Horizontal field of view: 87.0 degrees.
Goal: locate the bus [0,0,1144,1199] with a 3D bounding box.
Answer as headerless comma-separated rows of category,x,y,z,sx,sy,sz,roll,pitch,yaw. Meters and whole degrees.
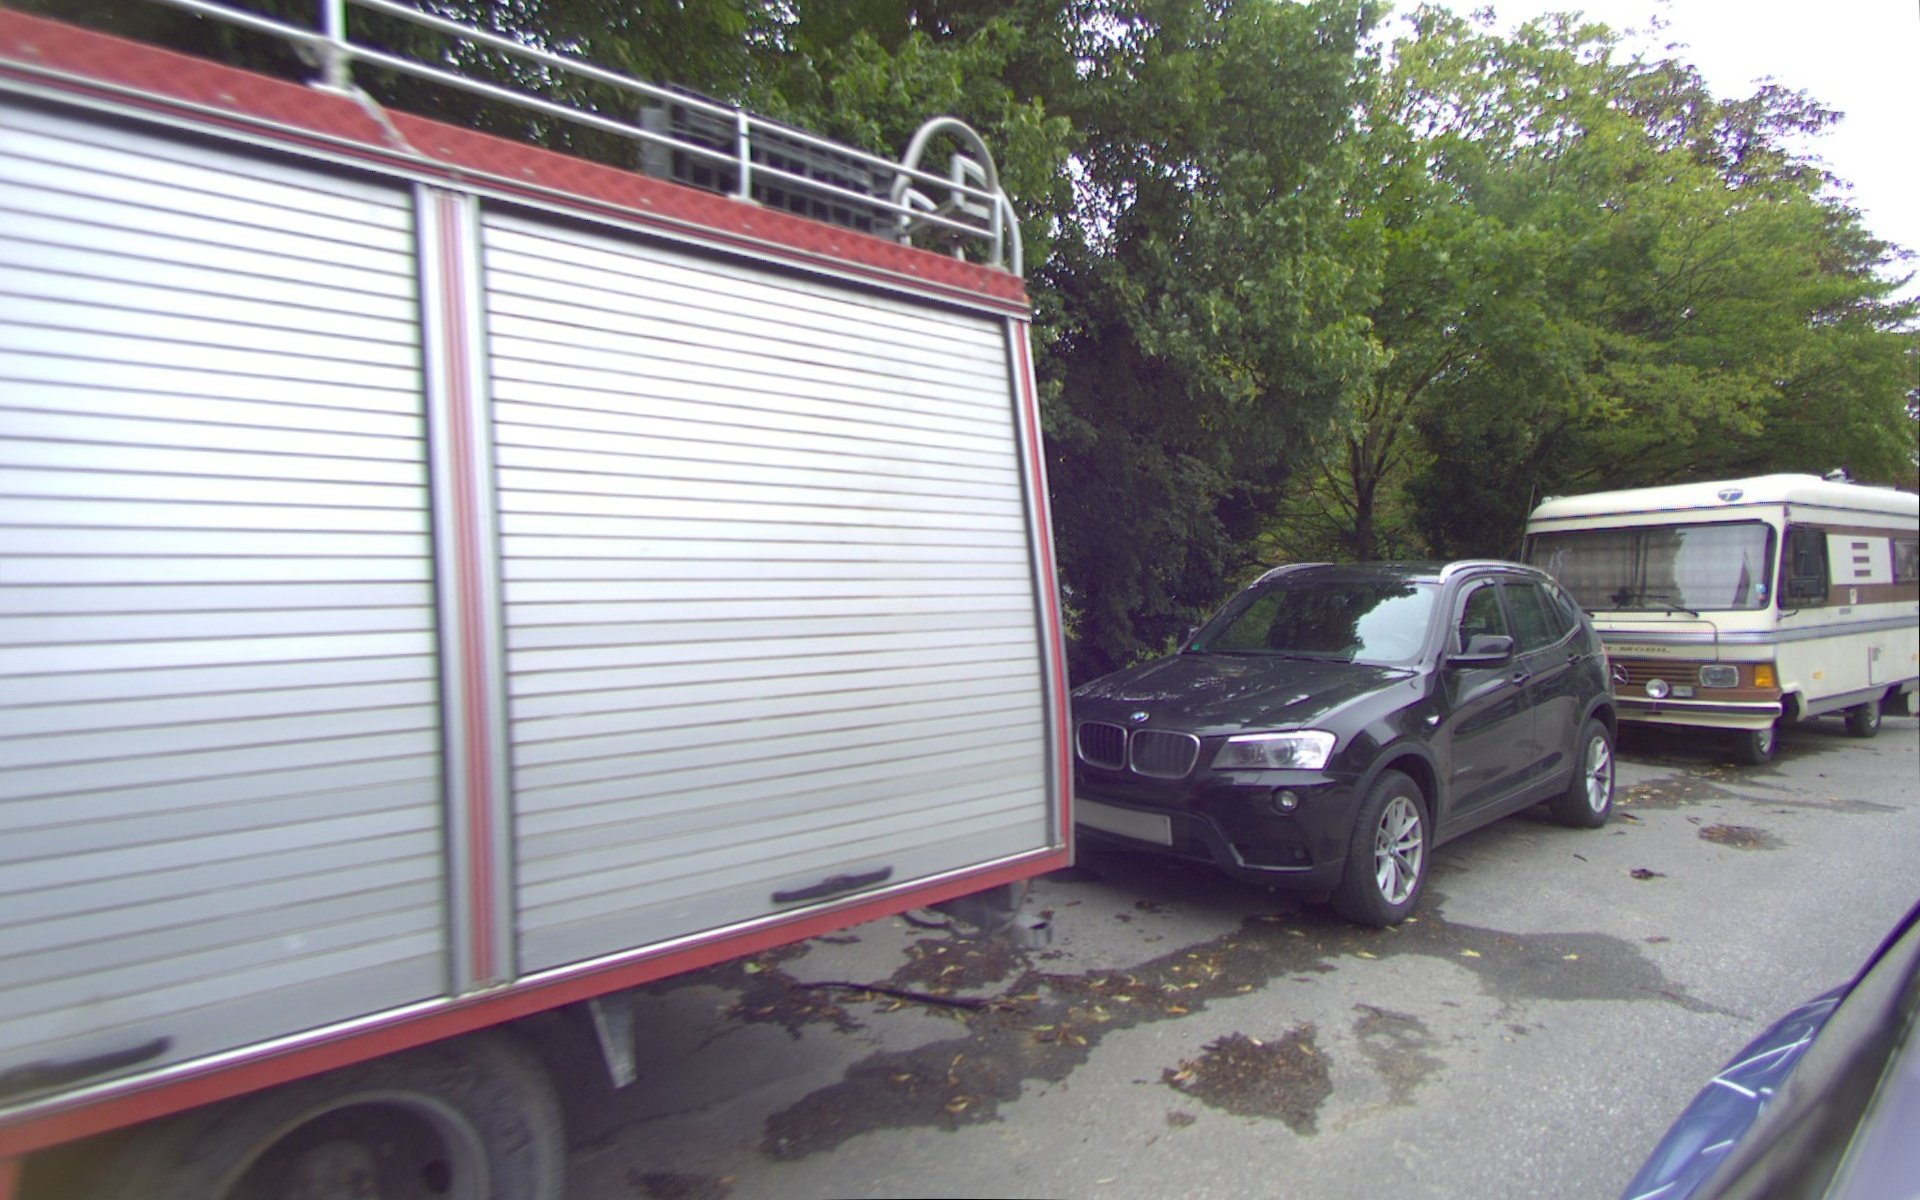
bus,-2.535,0.030,1.629,6.158,2.841,2.077,0,0,-39

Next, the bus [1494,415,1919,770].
bus,8.022,-0.069,10.374,5.754,2.764,2.080,0,0,-34

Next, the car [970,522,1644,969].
car,2.259,0.545,5.866,4.320,1.660,1.781,0,0,-41
